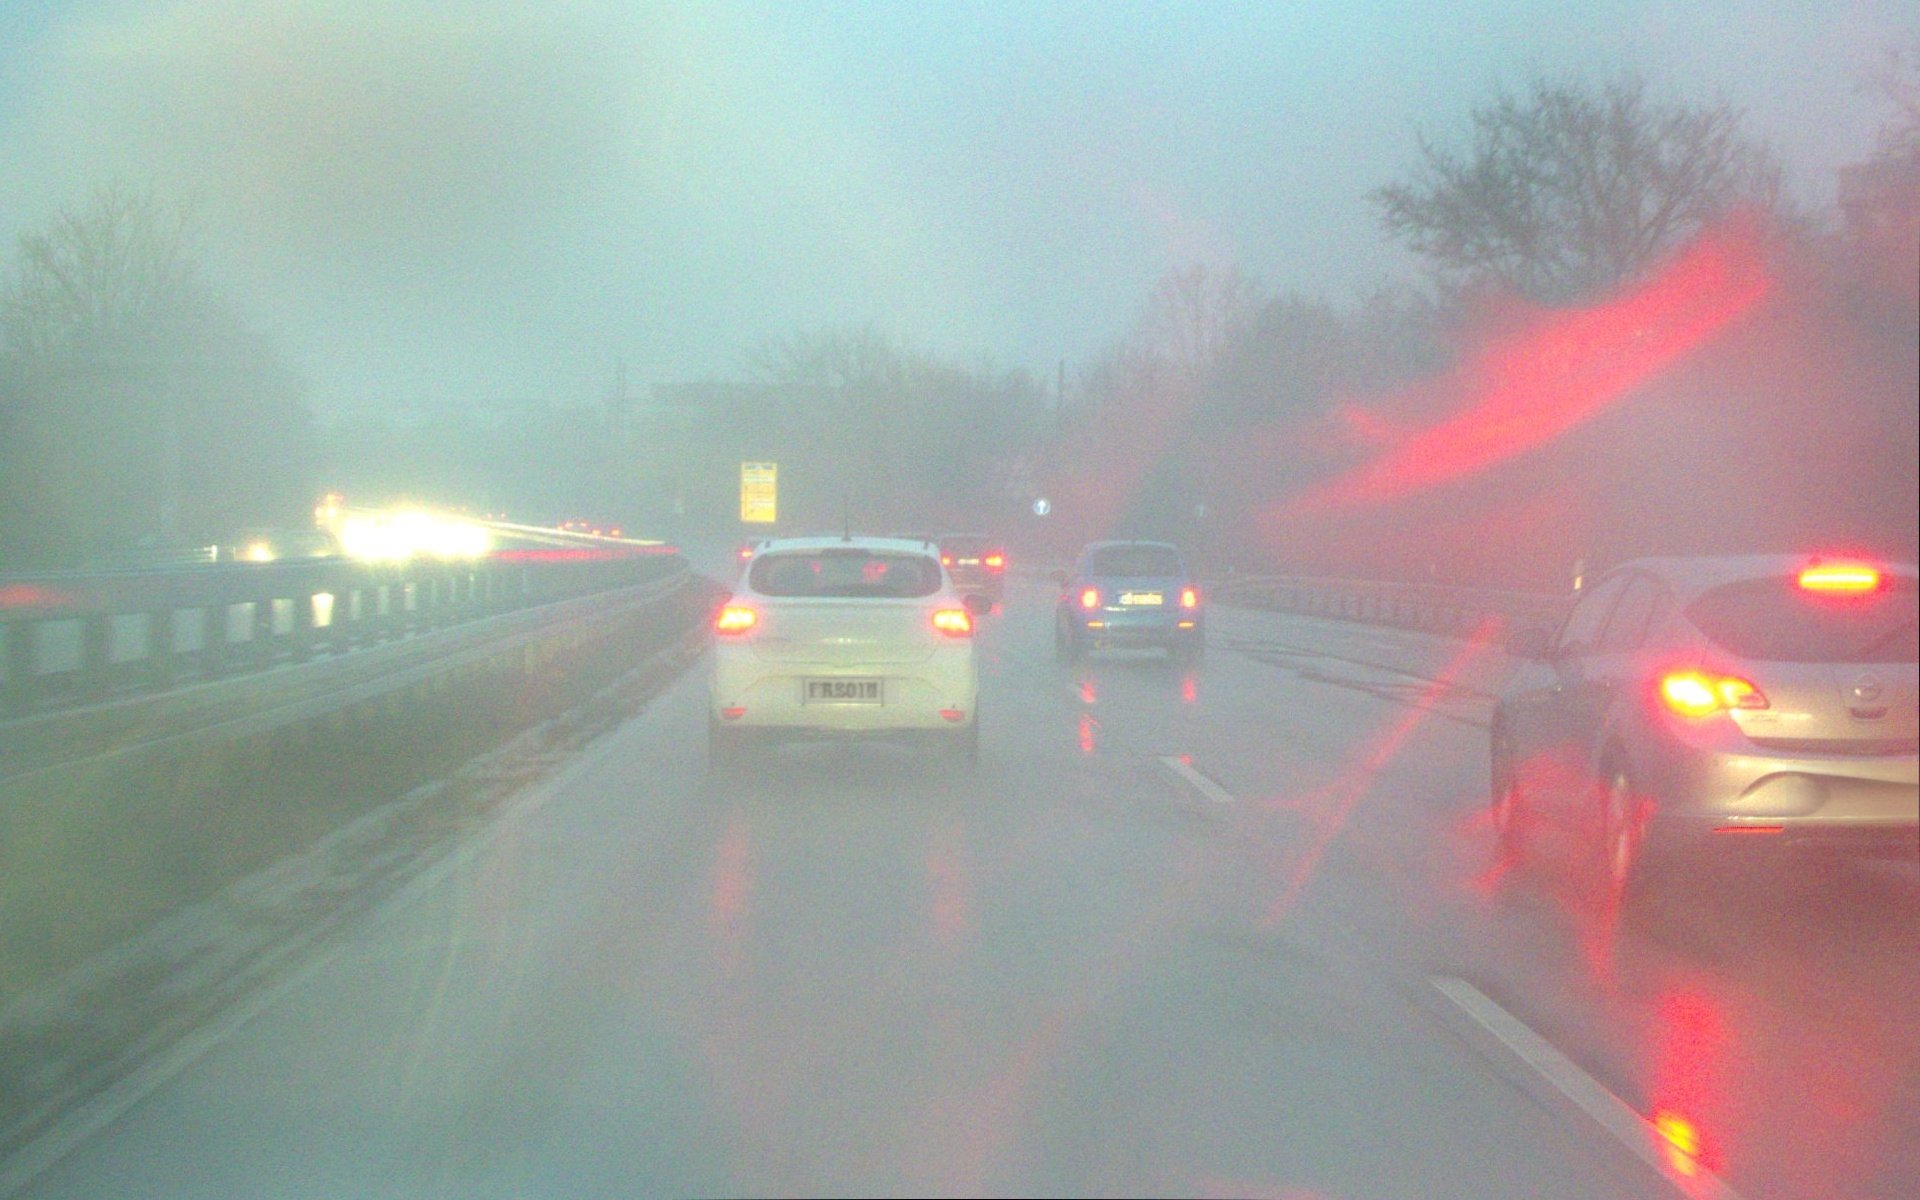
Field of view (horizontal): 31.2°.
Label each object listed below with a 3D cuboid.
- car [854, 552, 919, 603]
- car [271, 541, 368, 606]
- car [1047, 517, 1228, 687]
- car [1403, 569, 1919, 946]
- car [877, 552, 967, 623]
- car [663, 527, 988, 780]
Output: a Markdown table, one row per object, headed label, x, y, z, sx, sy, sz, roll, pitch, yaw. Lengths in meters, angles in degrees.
| label | x | y | z | sx | sy | sz | roll | pitch | yaw |
| --- | --- | --- | --- | --- | --- | --- | --- | --- | --- |
| car | -2.320 | -0.723 | 107.950 | 1.932 | 1.541 | 3.774 | 1 | 1 | -2 |
| car | -14.688 | -0.631 | 78.989 | 1.697 | 1.436 | 3.682 | 1 | 1 | -3 |
| car | 2.178 | -0.007 | 43.130 | 1.932 | 2.012 | 3.774 | 1 | 1 | -2 |
| car | 3.366 | 0.631 | 16.201 | 1.849 | 1.496 | 4.263 | 1 | 1 | -2 |
| car | -0.959 | -0.314 | 84.704 | 1.932 | 1.541 | 3.774 | -5 | 1 | -3 |
| car | -0.969 | 0.312 | 23.733 | 2.024 | 1.569 | 4.001 | 1 | 1 | -3 |
